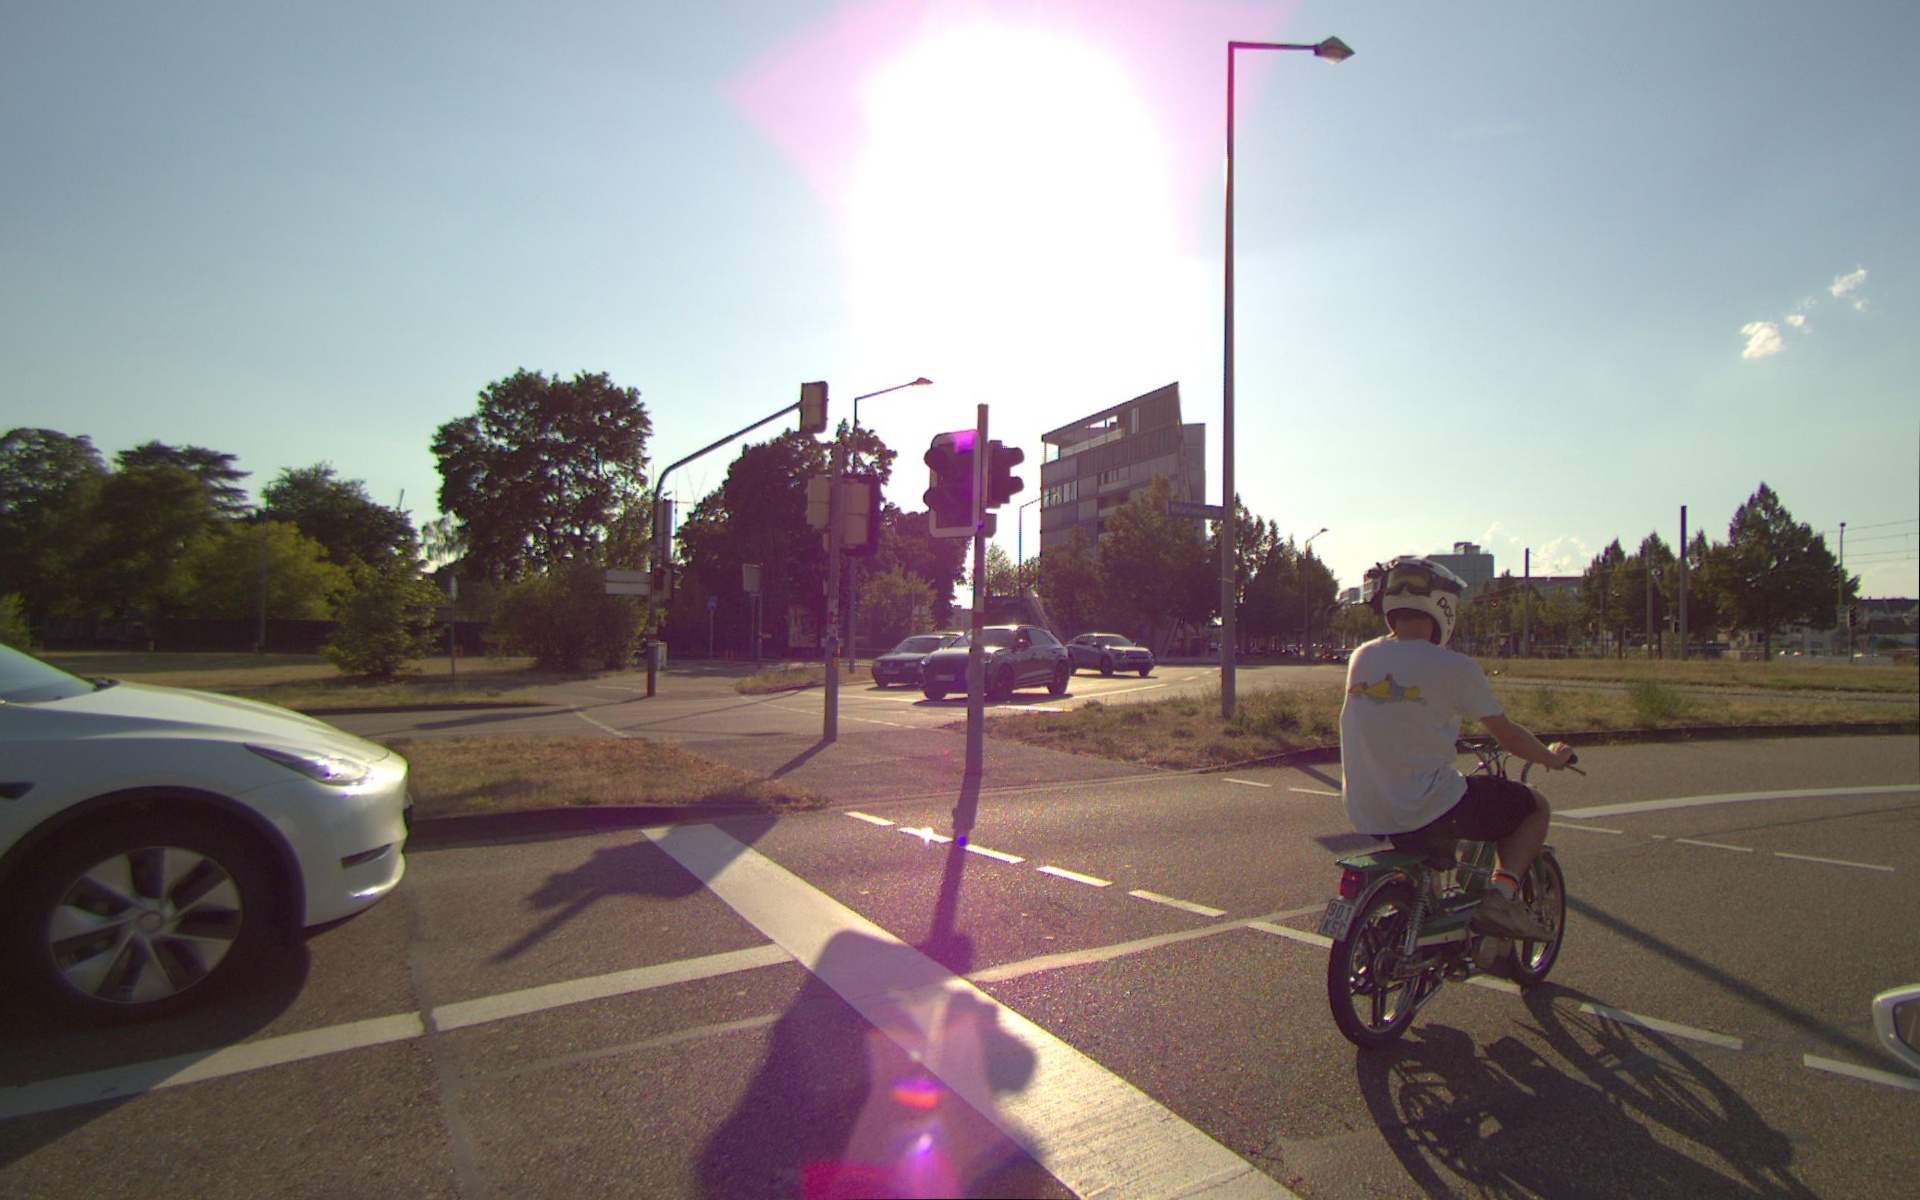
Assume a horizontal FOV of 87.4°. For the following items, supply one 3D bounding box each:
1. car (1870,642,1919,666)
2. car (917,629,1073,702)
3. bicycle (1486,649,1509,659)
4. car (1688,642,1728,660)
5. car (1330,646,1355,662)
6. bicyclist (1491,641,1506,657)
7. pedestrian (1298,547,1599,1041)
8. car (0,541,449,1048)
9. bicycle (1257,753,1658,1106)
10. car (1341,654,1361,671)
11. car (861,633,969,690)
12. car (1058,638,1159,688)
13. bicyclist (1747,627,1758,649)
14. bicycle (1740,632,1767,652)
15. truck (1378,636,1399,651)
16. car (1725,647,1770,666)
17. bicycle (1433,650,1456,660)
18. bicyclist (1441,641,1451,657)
[{"bbox_3d":[74.263,4.219,78.784,3.927,1.839,1.997,-1,-2,29],"label":"car"},{"bbox_3d":[0.940,1.466,23.320,1.624,1.532,4.636,-1,-3,30],"label":"car"},{"bbox_3d":[45.342,4.560,84.745,1.587,0.871,0.546,0,-2,14],"label":"bicycle"},{"bbox_3d":[88.472,6.065,118.828,1.960,2.040,4.003,0,-2,4],"label":"car"},{"bbox_3d":[37.737,5.301,99.142,1.960,1.495,4.002,0,-2,17],"label":"car"},{"bbox_3d":[45.438,4.122,84.775,0.938,1.375,0.694,0,-2,17],"label":"bicyclist"},{"bbox_3d":[1.769,0.621,3.654,0.845,1.539,0.652,2,-2,-34],"label":"pedestrian"},{"bbox_3d":[-4.397,0.592,3.319,4.630,1.620,1.724,2,-1,-35],"label":"car"},{"bbox_3d":[1.897,1.088,3.701,1.836,0.887,0.475,2,-2,-34],"label":"bicycle"},{"bbox_3d":[35.800,5.693,91.941,1.455,1.495,3.301,0,-2,17],"label":"car"},{"bbox_3d":[-1.223,1.733,29.128,1.621,1.532,3.826,-1,-3,24],"label":"car"},{"bbox_3d":[5.409,2.273,37.117,1.751,1.695,4.177,1,-2,-23],"label":"car"},{"bbox_3d":[61.759,2.951,78.249,0.474,1.694,0.601,3,-2,-40],"label":"bicyclist"},{"bbox_3d":[61.779,3.254,78.205,0.476,1.493,1.526,2,-2,-40],"label":"bicycle"},{"bbox_3d":[93.034,9.443,218.127,3.074,3.273,7.179,0,-2,14],"label":"truck"},{"bbox_3d":[87.020,6.211,111.040,1.960,2.040,4.003,0,-2,4],"label":"car"},{"bbox_3d":[40.202,4.543,83.350,1.687,0.754,0.481,0,-2,14],"label":"bicycle"},{"bbox_3d":[40.298,4.086,83.343,0.641,1.343,0.519,0,-2,14],"label":"bicyclist"}]
